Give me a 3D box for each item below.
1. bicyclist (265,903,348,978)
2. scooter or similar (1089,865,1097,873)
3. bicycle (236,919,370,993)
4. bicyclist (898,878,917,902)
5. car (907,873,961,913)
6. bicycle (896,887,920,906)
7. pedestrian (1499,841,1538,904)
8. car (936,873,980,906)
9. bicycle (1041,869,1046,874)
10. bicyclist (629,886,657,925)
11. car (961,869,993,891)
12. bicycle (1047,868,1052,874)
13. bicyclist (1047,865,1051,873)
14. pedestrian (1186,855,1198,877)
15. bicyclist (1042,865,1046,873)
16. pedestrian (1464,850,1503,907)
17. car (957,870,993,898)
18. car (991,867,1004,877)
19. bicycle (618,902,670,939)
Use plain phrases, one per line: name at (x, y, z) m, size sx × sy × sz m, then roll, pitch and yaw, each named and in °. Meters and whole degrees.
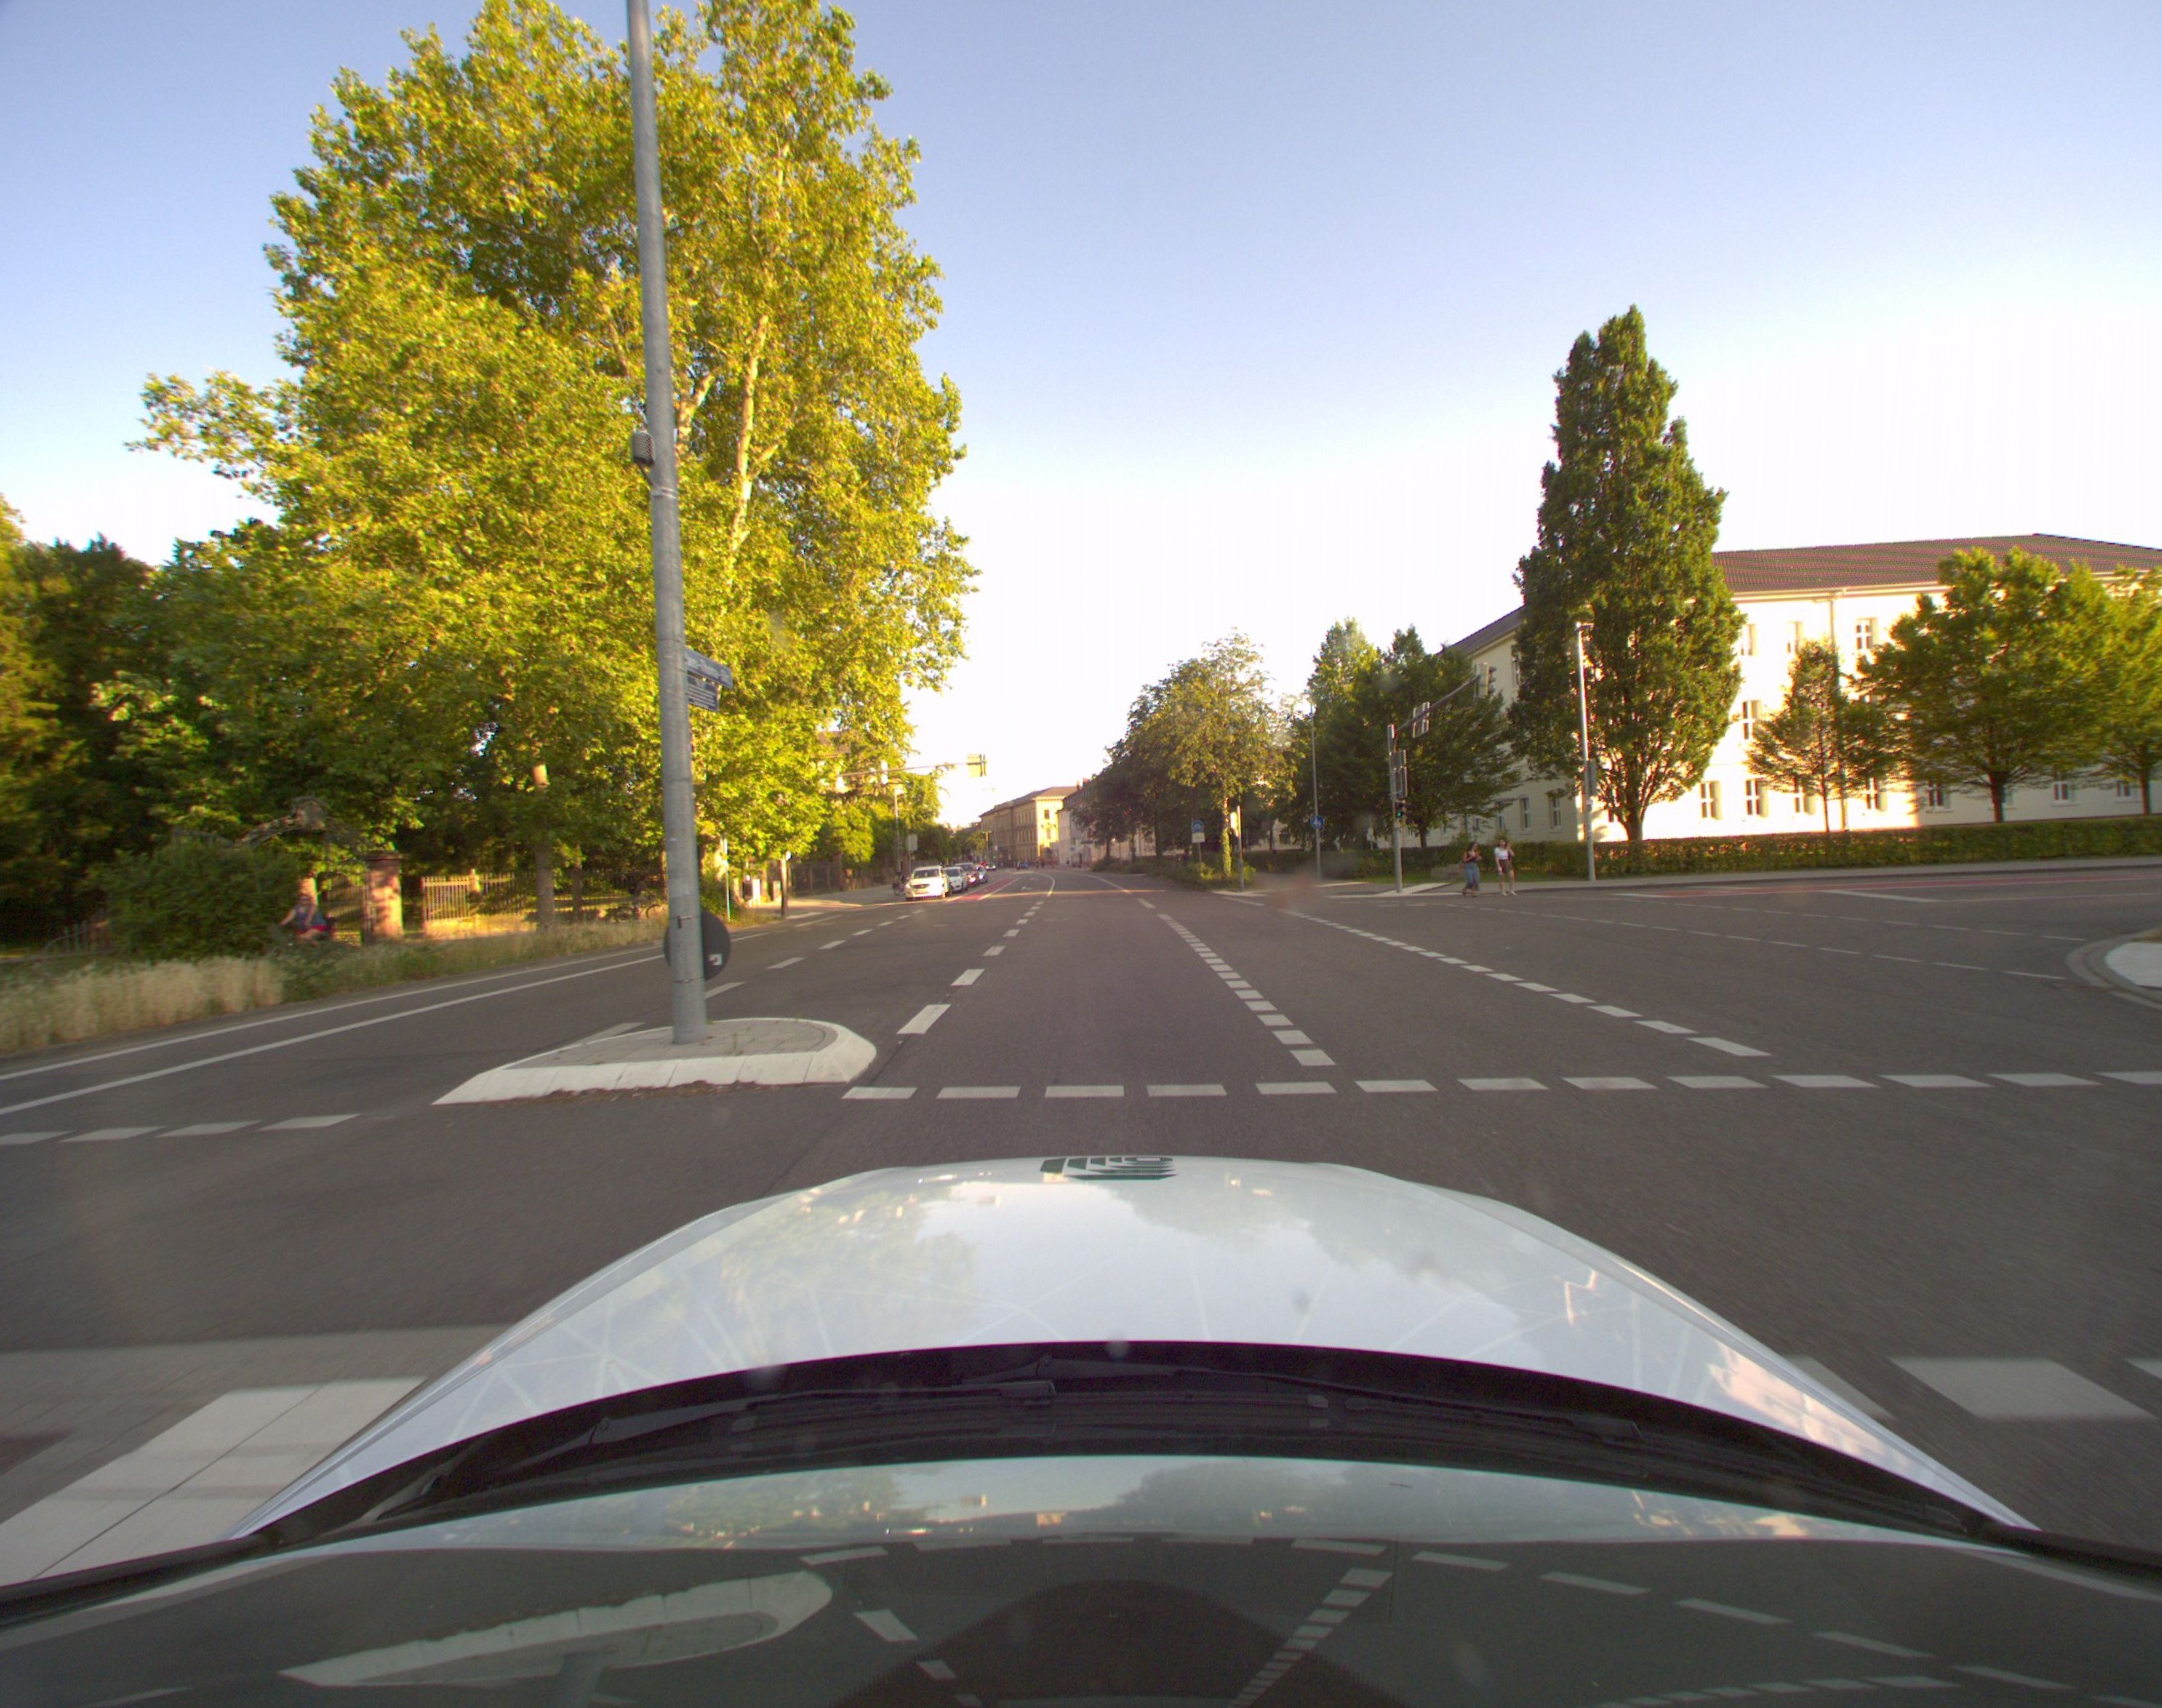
bicyclist at (-15.963, 1.762, 16.807) m, size 0.786 × 1.427 × 0.892 m, roll -3°, pitch -1°, yaw 1°
scooter or similar at (2.001, 2.444, 135.683) m, size 0.630 × 1.337 × 2.390 m, roll -2°, pitch -1°, yaw -12°
bicycle at (-15.951, 2.060, 16.784) m, size 0.786 × 1.256 × 1.980 m, roll -3°, pitch -1°, yaw 1°
bicyclist at (-10.784, 2.211, 50.649) m, size 0.852 × 1.431 × 0.944 m, roll -3°, pitch -1°, yaw 2°
car at (-7.251, 1.878, 40.623) m, size 1.912 × 1.695 × 4.422 m, roll -5°, pitch -1°, yaw -2°
bicycle at (-10.754, 2.630, 50.700) m, size 0.852 × 1.015 × 2.199 m, roll -3°, pitch -1°, yaw 2°
pedestrian at (12.693, 0.522, 23.629) m, size 0.678 × 1.754 × 0.689 m, roll -3°, pitch 0°, yaw 1°
car at (-7.092, 2.020, 47.356) m, size 1.912 × 1.583 × 4.670 m, roll -5°, pitch -1°, yaw -2°
bicycle at (-6.540, 3.053, 142.546) m, size 0.651 × 1.015 × 2.193 m, roll 0°, pitch -1°, yaw -6°
bicyclist at (-16.125, 1.873, 30.008) m, size 0.841 × 1.361 × 0.567 m, roll -2°, pitch -1°, yaw -29°
car at (-7.941, 1.936, 62.381) m, size 1.912 × 1.418 × 4.765 m, roll -5°, pitch 0°, yaw -2°
bicycle at (-5.525, 3.045, 142.183) m, size 0.651 × 1.015 × 2.193 m, roll 0°, pitch -1°, yaw -5°
bicyclist at (-5.532, 2.620, 142.194) m, size 0.651 × 1.475 × 0.939 m, roll 0°, pitch -1°, yaw -6°
pedestrian at (9.340, 1.014, 68.381) m, size 0.769 × 1.739 × 0.805 m, roll -3°, pitch -1°, yaw -8°
bicyclist at (-6.551, 2.576, 142.668) m, size 0.651 × 1.446 × 0.877 m, roll 0°, pitch -1°, yaw -7°
pedestrian at (11.841, 0.717, 23.974) m, size 0.678 × 1.622 × 0.845 m, roll -3°, pitch 0°, yaw 1°
car at (-7.215, 2.032, 55.653) m, size 1.912 × 1.624 × 4.634 m, roll -5°, pitch -1°, yaw -2°
car at (-14.817, 3.228, 144.889) m, size 1.850 × 1.526 × 3.984 m, roll -4°, pitch 0°, yaw -11°
bicycle at (-16.066, 2.438, 29.991) m, size 1.637 × 1.229 × 0.567 m, roll -2°, pitch -1°, yaw -29°
